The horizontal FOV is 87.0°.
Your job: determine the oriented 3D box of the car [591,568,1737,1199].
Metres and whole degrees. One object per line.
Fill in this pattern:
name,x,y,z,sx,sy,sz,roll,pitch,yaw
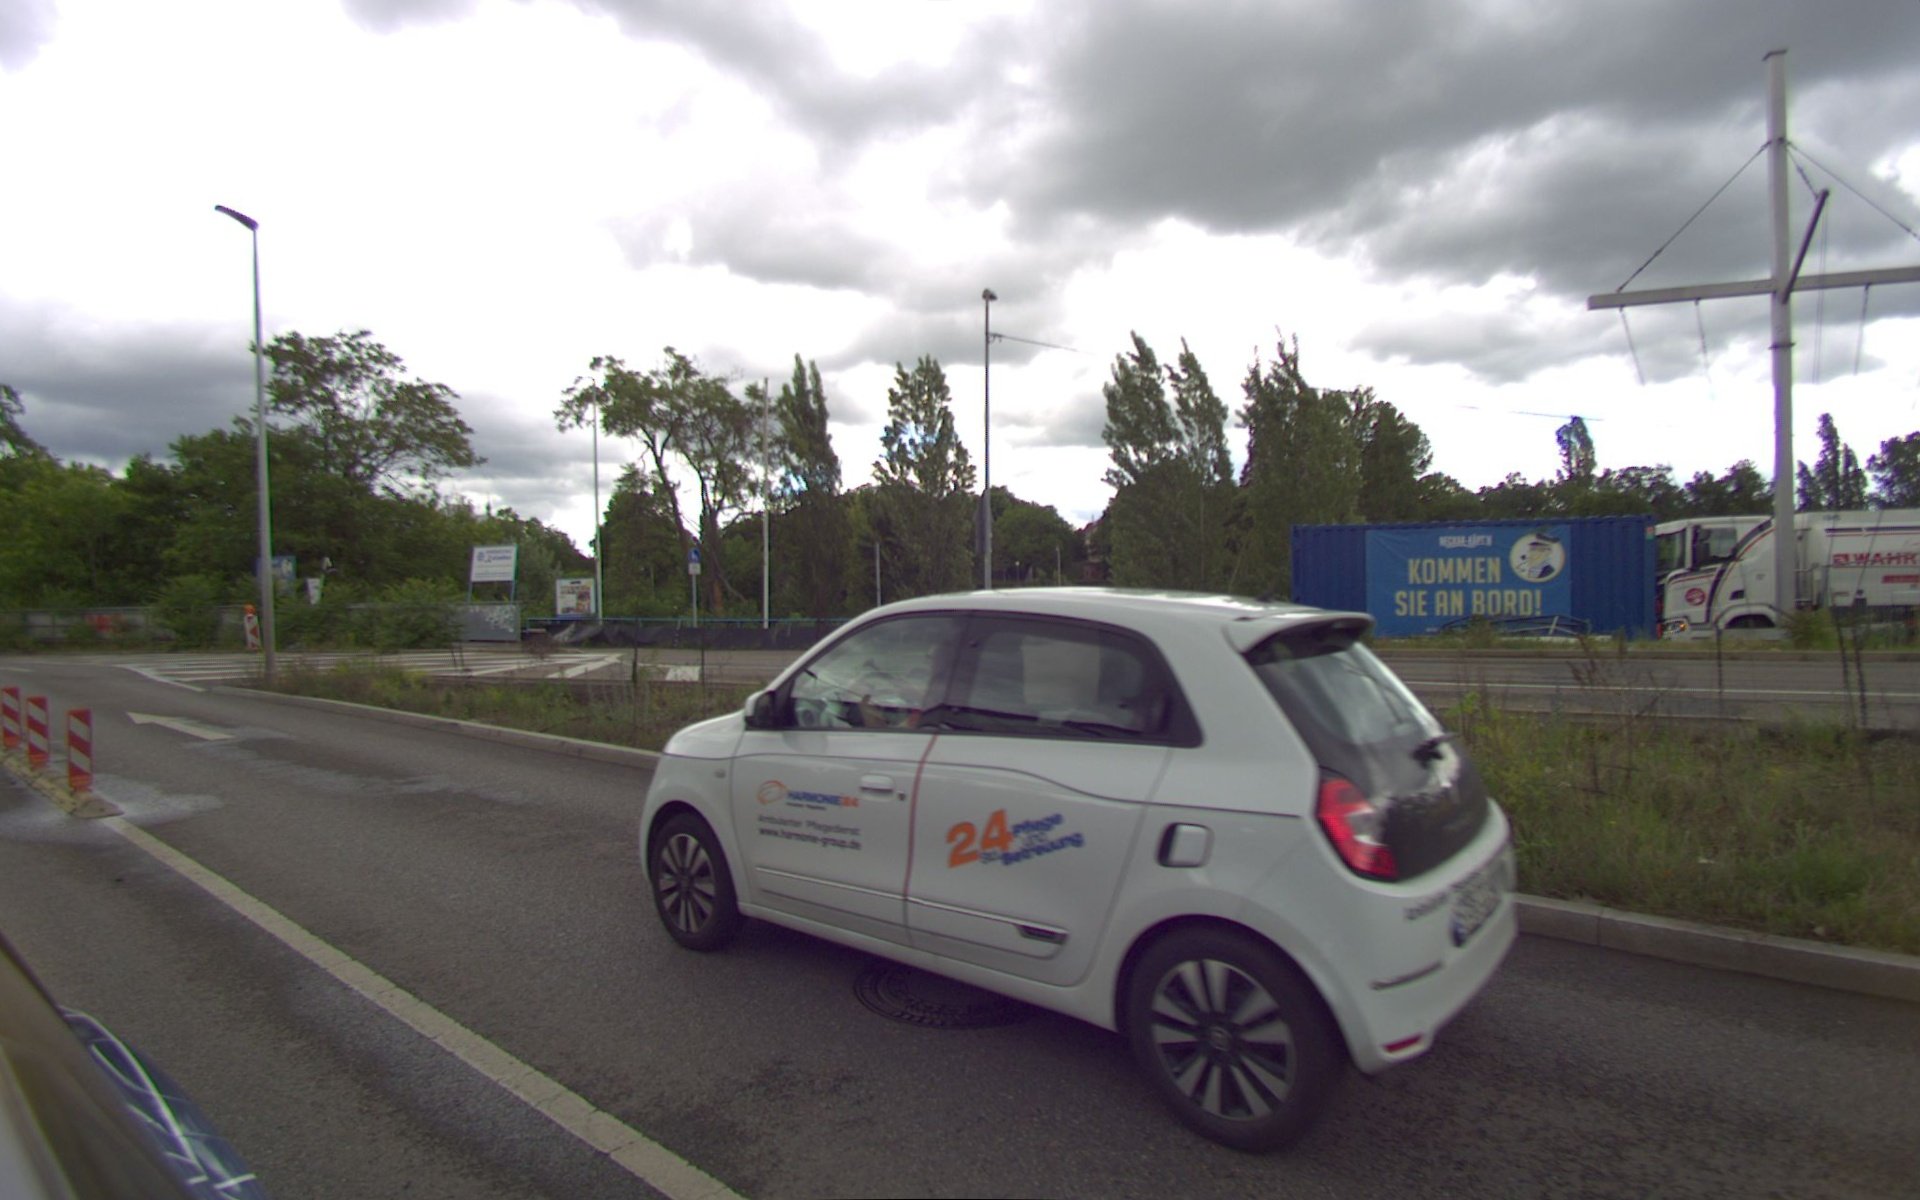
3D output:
car,0.386,0.711,3.911,4.082,1.528,1.575,-1,1,40

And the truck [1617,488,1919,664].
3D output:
truck,18.926,-0.422,20.923,8.394,3.361,2.790,2,-1,13
